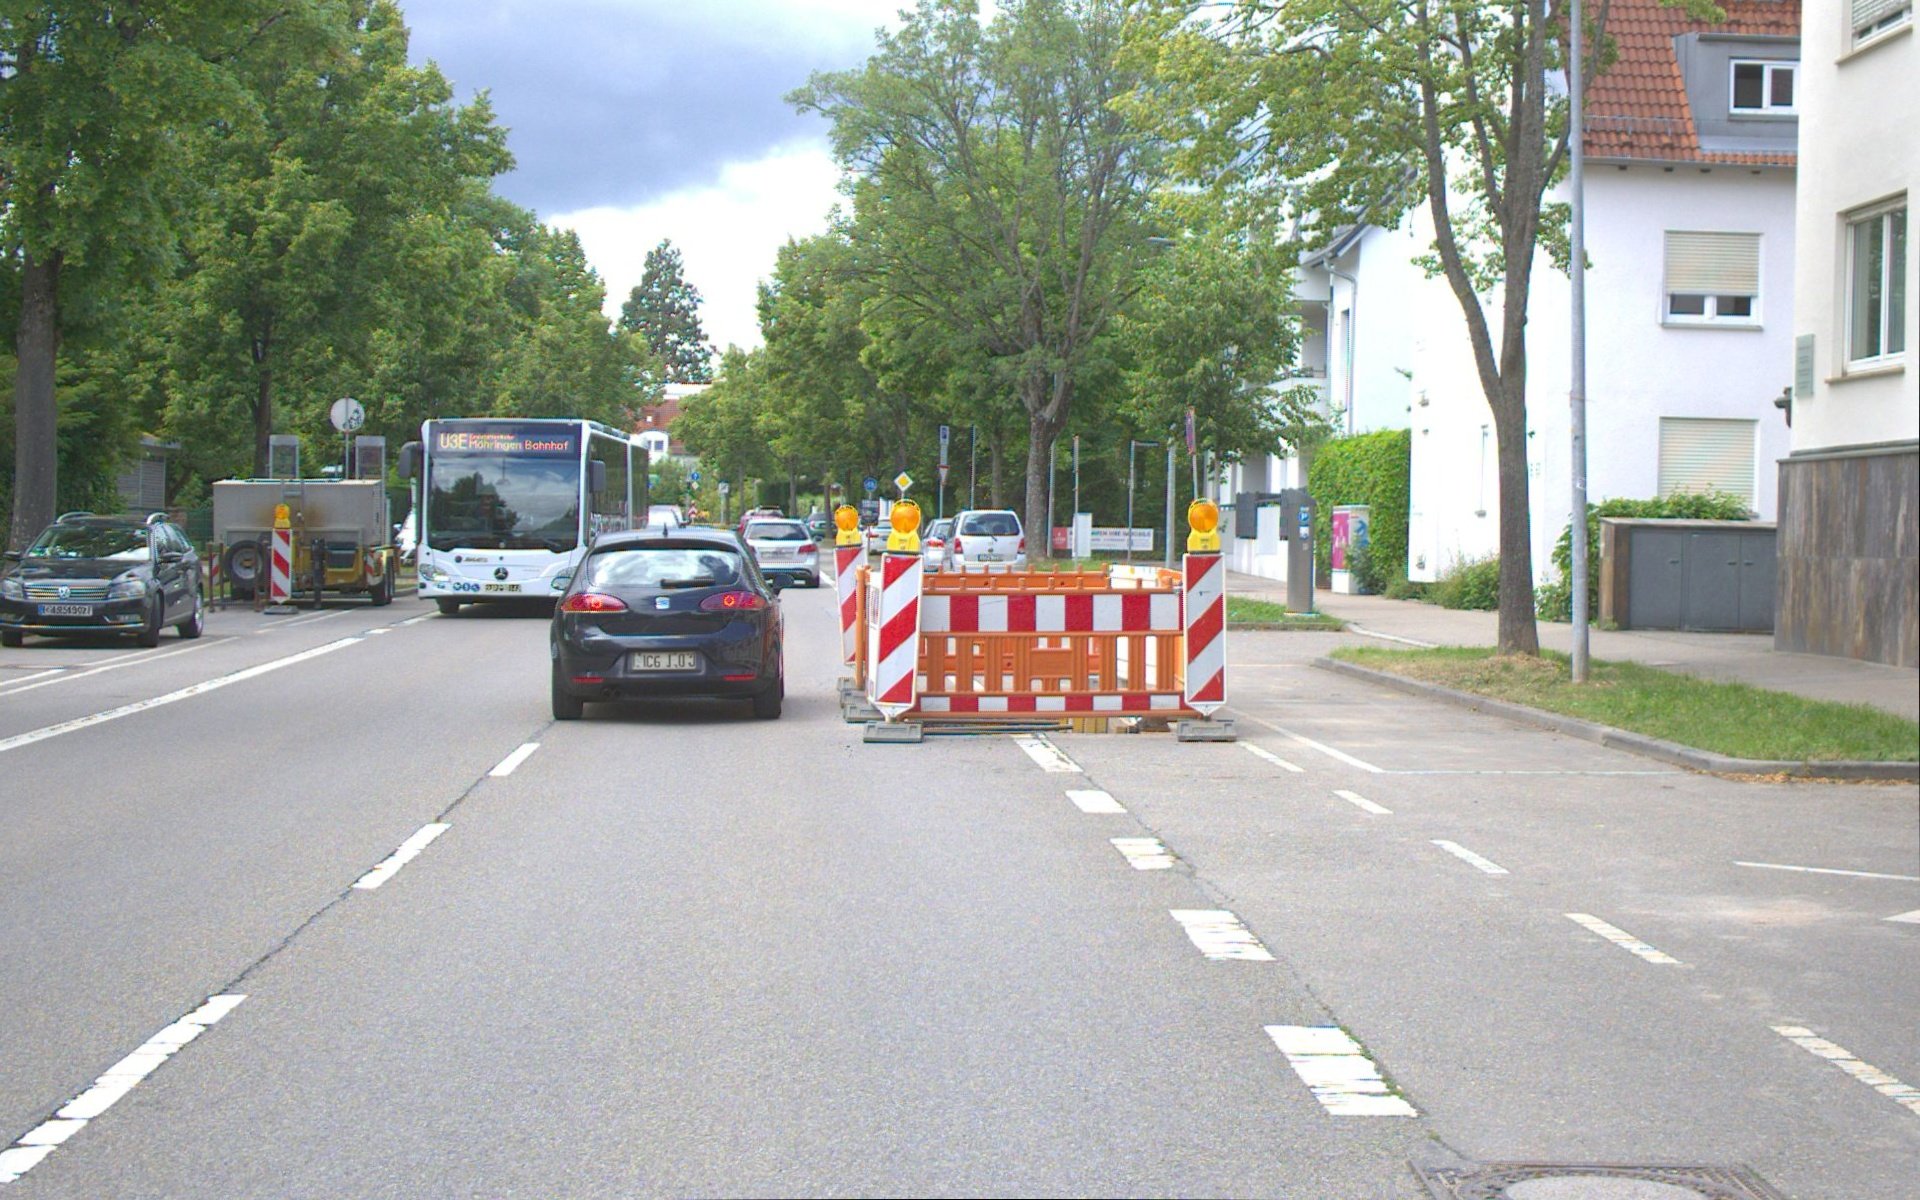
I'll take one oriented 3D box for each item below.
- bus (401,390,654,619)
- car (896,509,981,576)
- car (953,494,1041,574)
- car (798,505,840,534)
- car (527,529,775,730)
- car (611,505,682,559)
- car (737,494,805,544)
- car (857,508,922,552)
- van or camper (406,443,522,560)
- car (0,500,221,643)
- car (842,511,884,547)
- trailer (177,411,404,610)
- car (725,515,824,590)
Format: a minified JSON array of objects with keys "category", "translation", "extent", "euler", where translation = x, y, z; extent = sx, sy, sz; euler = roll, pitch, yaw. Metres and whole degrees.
[{"category":"bus","translation":[-7.102,-1.521,59.108],"extent":[2.804,3.277,18.047],"euler":[1,1,-3]},{"category":"car","translation":[-0.532,-1.342,79.456],"extent":[1.687,1.488,4.228],"euler":[0,1,-4]},{"category":"car","translation":[0.767,-1.425,73.769],"extent":[1.632,1.660,3.648],"euler":[0,1,-3]},{"category":"car","translation":[-7.079,-4.052,172.439],"extent":[1.682,1.427,4.046],"euler":[0,2,-9]},{"category":"car","translation":[-2.435,0.184,26.867],"extent":[1.783,1.444,3.559],"euler":[1,1,-6]},{"category":"car","translation":[-10.060,-2.200,110.465],"extent":[1.993,1.662,4.590],"euler":[-1,1,-2]},{"category":"car","translation":[-5.978,-2.548,108.289],"extent":[1.993,1.525,4.001],"euler":[0,1,-5]},{"category":"car","translation":[-2.418,-2.412,117.315],"extent":[2.020,1.438,5.026],"euler":[1,1,-3]},{"category":"van or camper","translation":[-13.327,-2.647,92.763],"extent":[2.435,2.999,7.694],"euler":[0,1,-3]},{"category":"car","translation":[-9.983,-0.308,40.337],"extent":[1.860,1.548,4.620],"euler":[1,0,-3]},{"category":"car","translation":[-3.879,-2.849,137.568],"extent":[1.638,1.415,4.001],"euler":[0,2,-2]},{"category":"trailer","translation":[-10.645,-1.394,55.304],"extent":[2.673,2.931,7.477],"euler":[1,1,-4]},{"category":"car","translation":[-3.974,-1.040,74.178],"extent":[1.993,1.552,4.001],"euler":[1,1,-2]}]
